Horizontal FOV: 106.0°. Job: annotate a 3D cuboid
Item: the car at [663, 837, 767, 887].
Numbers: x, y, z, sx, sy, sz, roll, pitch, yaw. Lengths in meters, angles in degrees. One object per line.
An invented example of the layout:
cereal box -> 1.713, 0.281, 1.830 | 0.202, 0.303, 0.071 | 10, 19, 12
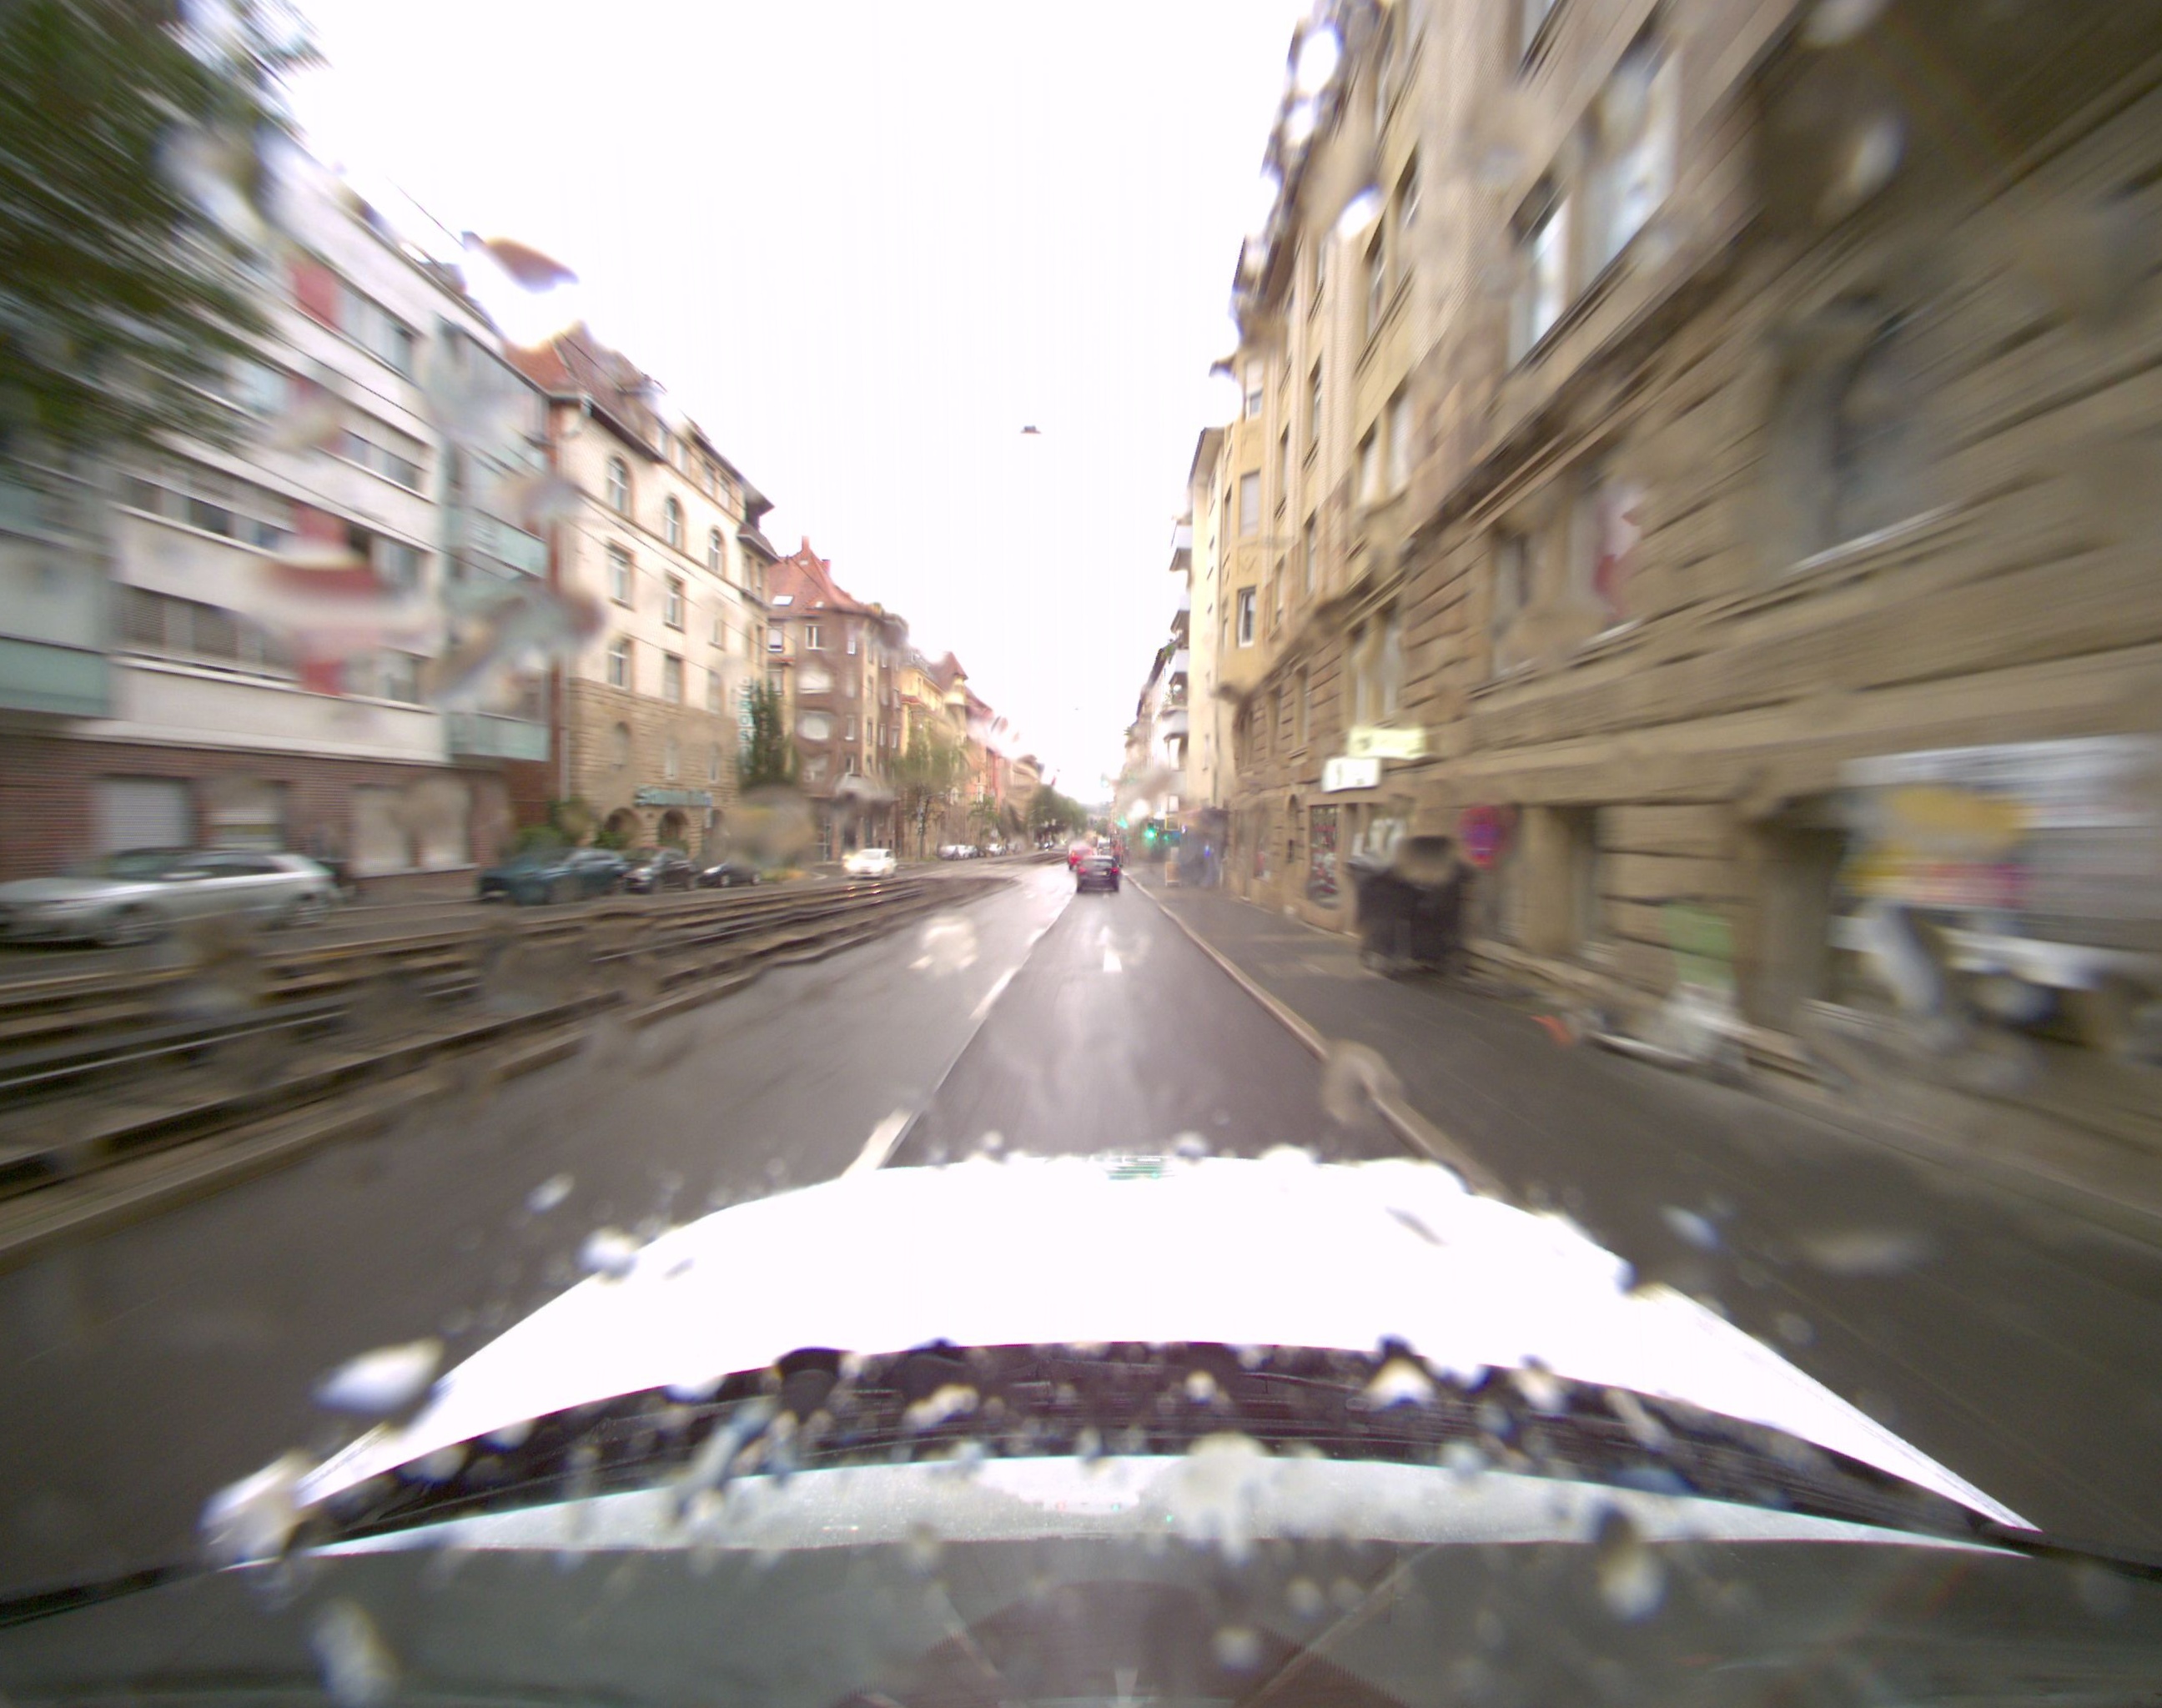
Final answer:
car -> -14.032, 0.274, 31.480 | 1.876, 1.728, 3.748 | 3, 0, 7

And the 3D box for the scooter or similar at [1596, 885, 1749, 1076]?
scooter or similar -> 3.799, 0.765, 5.288 | 0.209, 1.112, 0.889 | -1, -1, -8

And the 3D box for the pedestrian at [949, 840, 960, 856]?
pedestrian -> -14.527, -0.675, 93.808 | 1.003, 1.753, 0.925 | 3, 0, 2

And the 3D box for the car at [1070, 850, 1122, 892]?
car -> 0.583, 0.627, 32.263 | 1.939, 1.564, 3.643 | 0, 0, 0

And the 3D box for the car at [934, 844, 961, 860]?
car -> -12.686, -0.182, 77.614 | 1.758, 1.486, 4.002 | 1, 0, 2

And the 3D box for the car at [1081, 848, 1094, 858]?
car -> 0.982, -0.174, 127.341 | 1.895, 1.593, 4.001 | 0, 0, 1

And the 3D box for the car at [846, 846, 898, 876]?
car -> -10.638, 0.336, 41.708 | 1.620, 1.482, 3.583 | 1, 0, 2

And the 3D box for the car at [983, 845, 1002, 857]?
car -> -11.663, -0.381, 107.532 | 1.776, 1.589, 4.356 | 0, 0, 4

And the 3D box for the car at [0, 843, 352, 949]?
car -> -14.365, 0.549, 12.943 | 1.696, 1.335, 4.132 | 3, 0, 2

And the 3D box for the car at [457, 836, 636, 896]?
car -> -14.067, 0.274, 21.812 | 1.794, 1.455, 4.432 | 0, 0, 1

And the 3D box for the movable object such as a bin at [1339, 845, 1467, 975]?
movable object such as a bin -> 3.849, 0.631, 9.882 | 1.005, 1.451, 1.394 | -1, 0, 1

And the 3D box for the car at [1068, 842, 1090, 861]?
car -> -0.202, -0.238, 76.434 | 1.916, 1.655, 3.999 | 1, 0, -1

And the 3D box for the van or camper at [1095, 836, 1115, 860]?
van or camper -> 2.594, -0.668, 88.624 | 2.056, 2.469, 6.121 | 1, 0, 2

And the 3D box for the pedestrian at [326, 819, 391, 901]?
pedestrian -> -15.988, 0.130, 18.040 | 0.671, 1.772, 0.783 | 1, 0, 1

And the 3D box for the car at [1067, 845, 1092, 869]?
car -> -0.085, 0.183, 55.016 | 1.530, 1.510, 4.002 | 2, 1, 2

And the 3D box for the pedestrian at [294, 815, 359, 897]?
pedestrian -> -16.722, 0.042, 18.064 | 0.671, 1.772, 0.783 | 1, 0, 1

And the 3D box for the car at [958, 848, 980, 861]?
car -> -12.068, 0.056, 88.143 | 1.554, 1.438, 4.150 | 0, 0, 4

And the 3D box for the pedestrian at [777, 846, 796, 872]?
pedestrian -> -15.981, 0.277, 44.150 | 0.751, 1.422, 0.646 | 0, 0, 4

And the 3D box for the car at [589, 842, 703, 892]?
car -> -14.060, 0.392, 26.559 | 1.802, 1.498, 3.524 | 1, 0, -1

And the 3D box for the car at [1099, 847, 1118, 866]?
car -> 2.702, 0.237, 80.269 | 1.762, 1.808, 4.484 | 2, 1, 1

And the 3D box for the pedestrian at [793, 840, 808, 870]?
pedestrian -> -15.200, 0.049, 44.184 | 0.514, 1.570, 0.644 | 1, 0, 6

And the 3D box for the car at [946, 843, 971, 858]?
car -> -12.380, -0.353, 82.799 | 1.660, 1.426, 4.266 | 1, 1, 3
